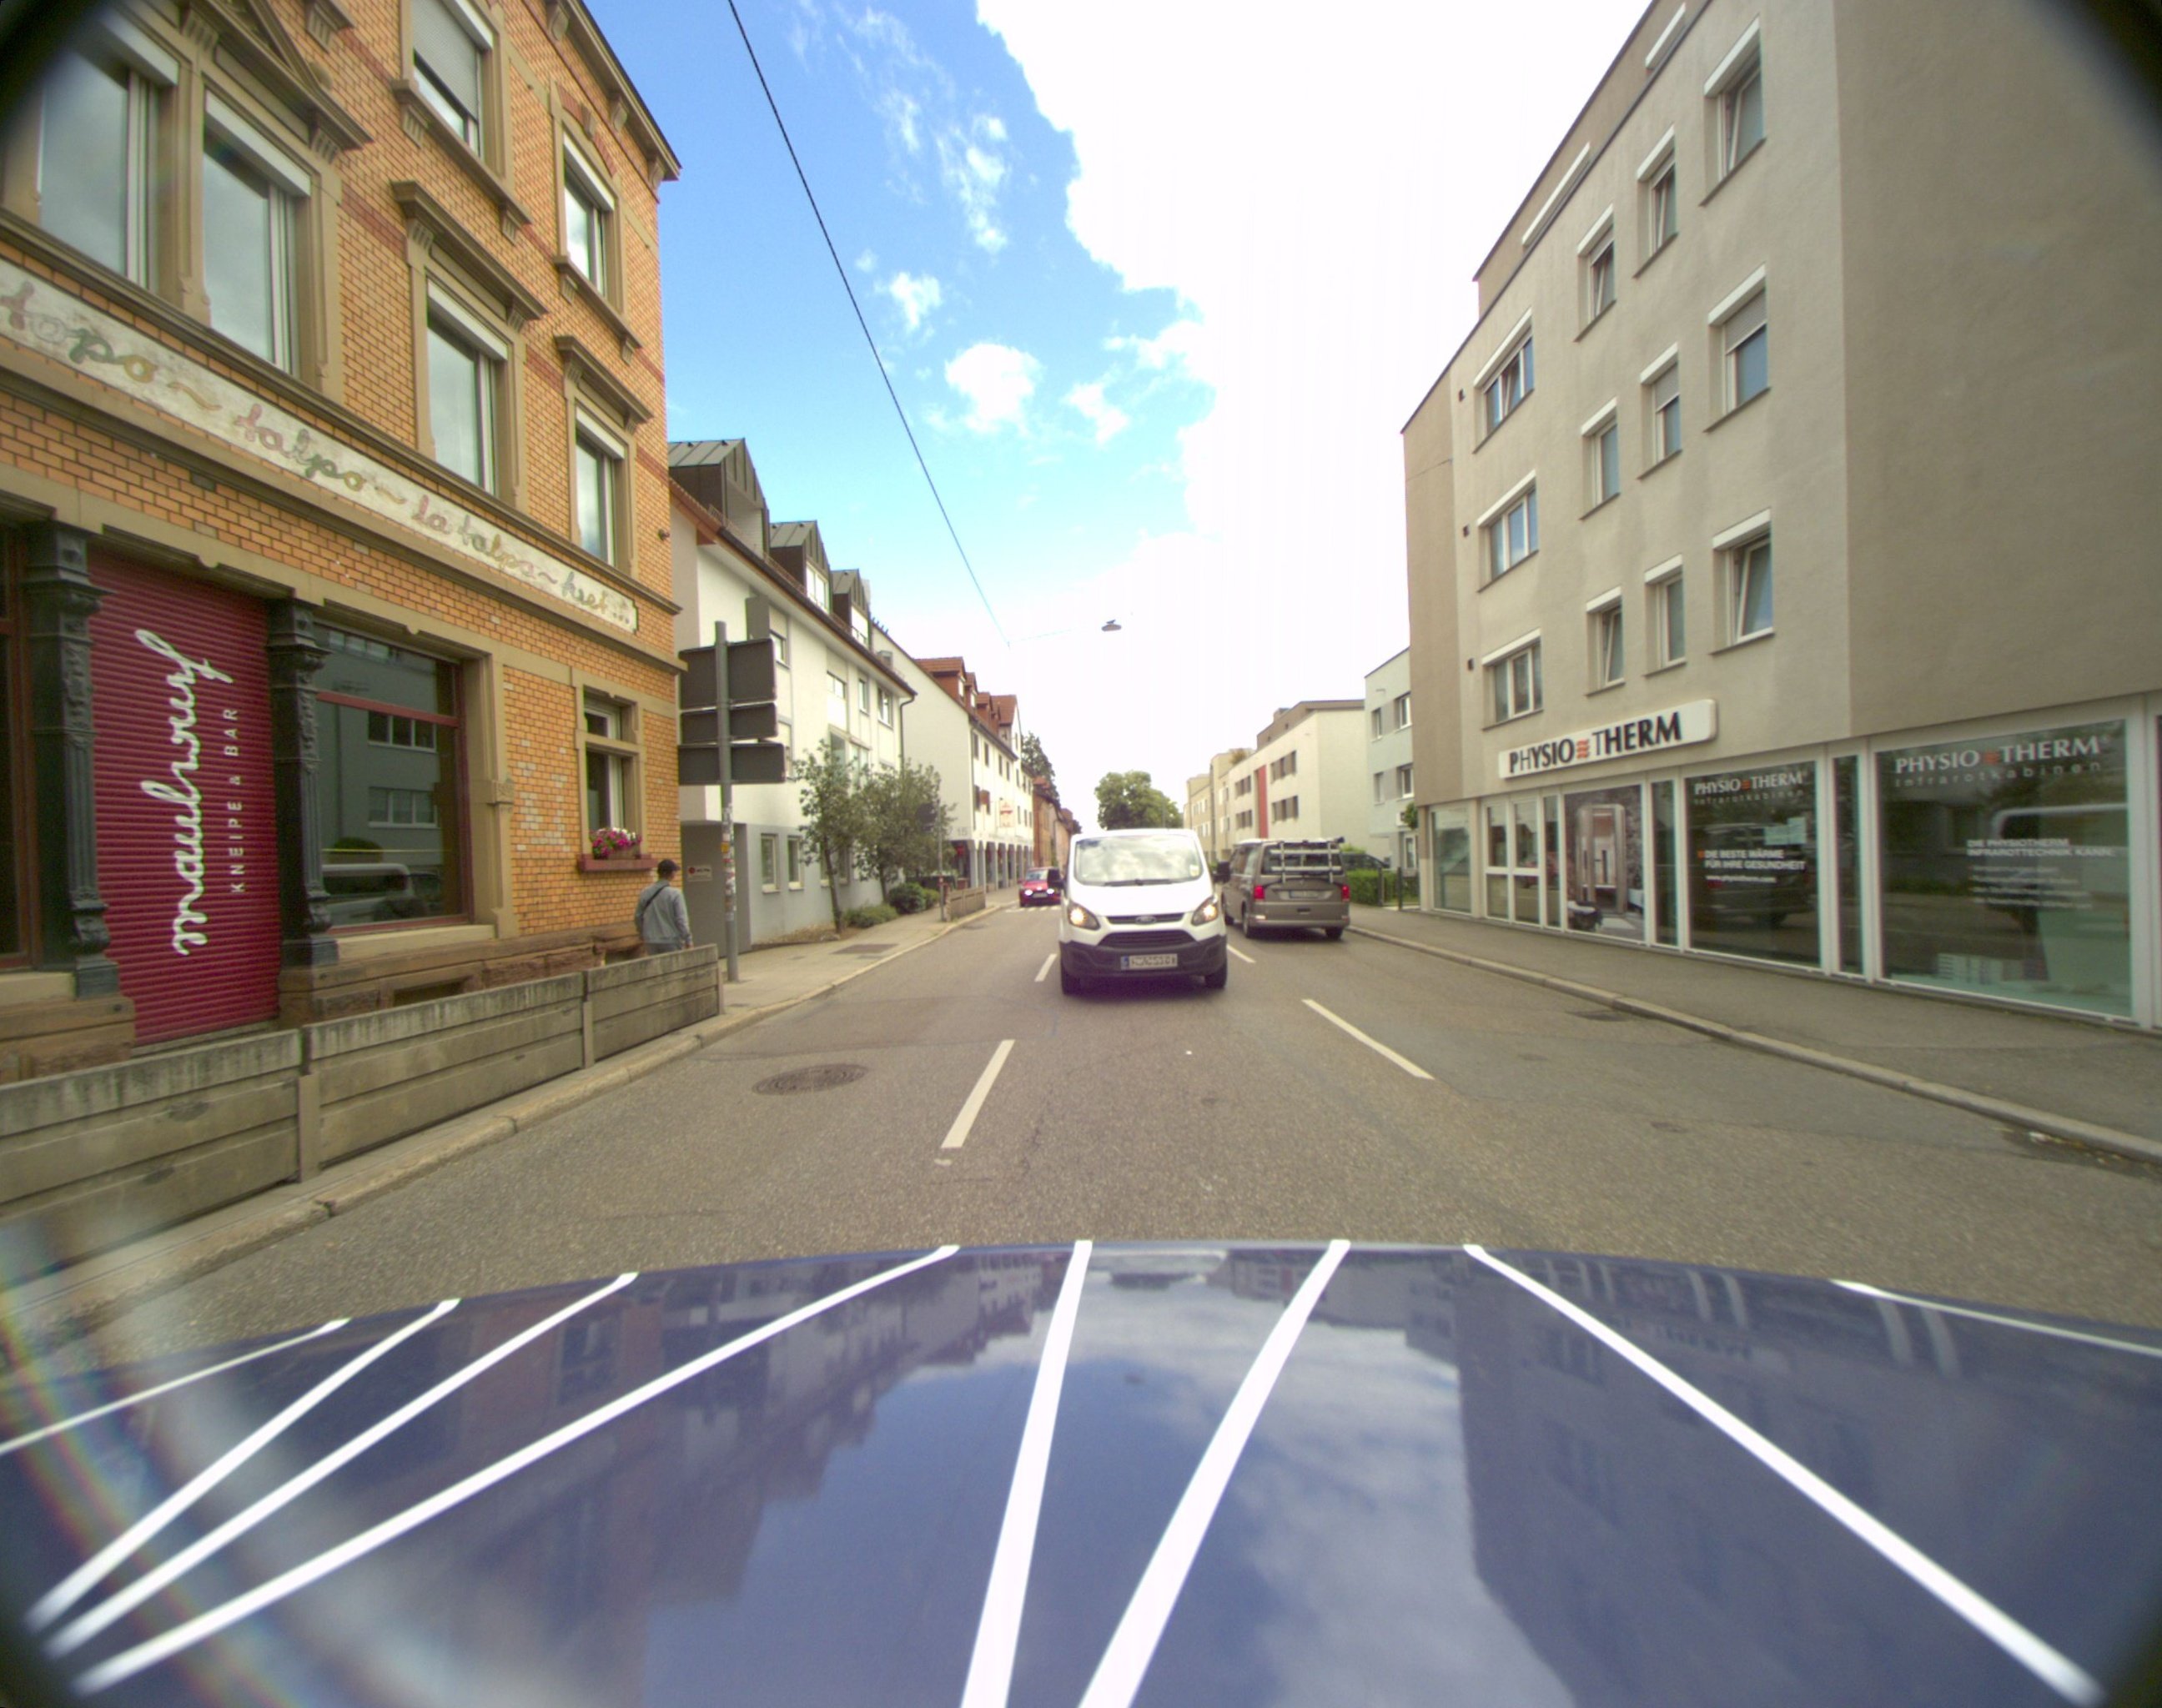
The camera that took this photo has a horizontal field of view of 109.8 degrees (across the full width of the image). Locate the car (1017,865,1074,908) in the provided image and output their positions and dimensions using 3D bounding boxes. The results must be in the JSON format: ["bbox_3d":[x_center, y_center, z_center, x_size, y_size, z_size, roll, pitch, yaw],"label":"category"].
[{"bbox_3d":[-1.359,1.253,30.612,1.702,1.443,4.001,-4,0,5],"label":"car"}]

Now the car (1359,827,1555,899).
[{"bbox_3d":[11.575,0.283,23.704,5.082,1.986,1.967,-2,0,4],"label":"car"}]

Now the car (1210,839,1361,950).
[{"bbox_3d":[4.088,0.737,16.064,1.964,1.986,4.761,0,0,1],"label":"car"}]

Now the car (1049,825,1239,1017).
[{"bbox_3d":[0.678,0.728,10.626,1.965,1.986,5.087,-2,0,0],"label":"car"}]

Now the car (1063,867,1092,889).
[{"bbox_3d":[-0.253,1.929,61.916,1.998,1.537,4.572,-4,0,3],"label":"car"}]

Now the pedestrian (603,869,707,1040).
[{"bbox_3d":[-4.530,1.039,8.127,0.690,1.720,0.650,-2,0,0],"label":"pedestrian"}]
